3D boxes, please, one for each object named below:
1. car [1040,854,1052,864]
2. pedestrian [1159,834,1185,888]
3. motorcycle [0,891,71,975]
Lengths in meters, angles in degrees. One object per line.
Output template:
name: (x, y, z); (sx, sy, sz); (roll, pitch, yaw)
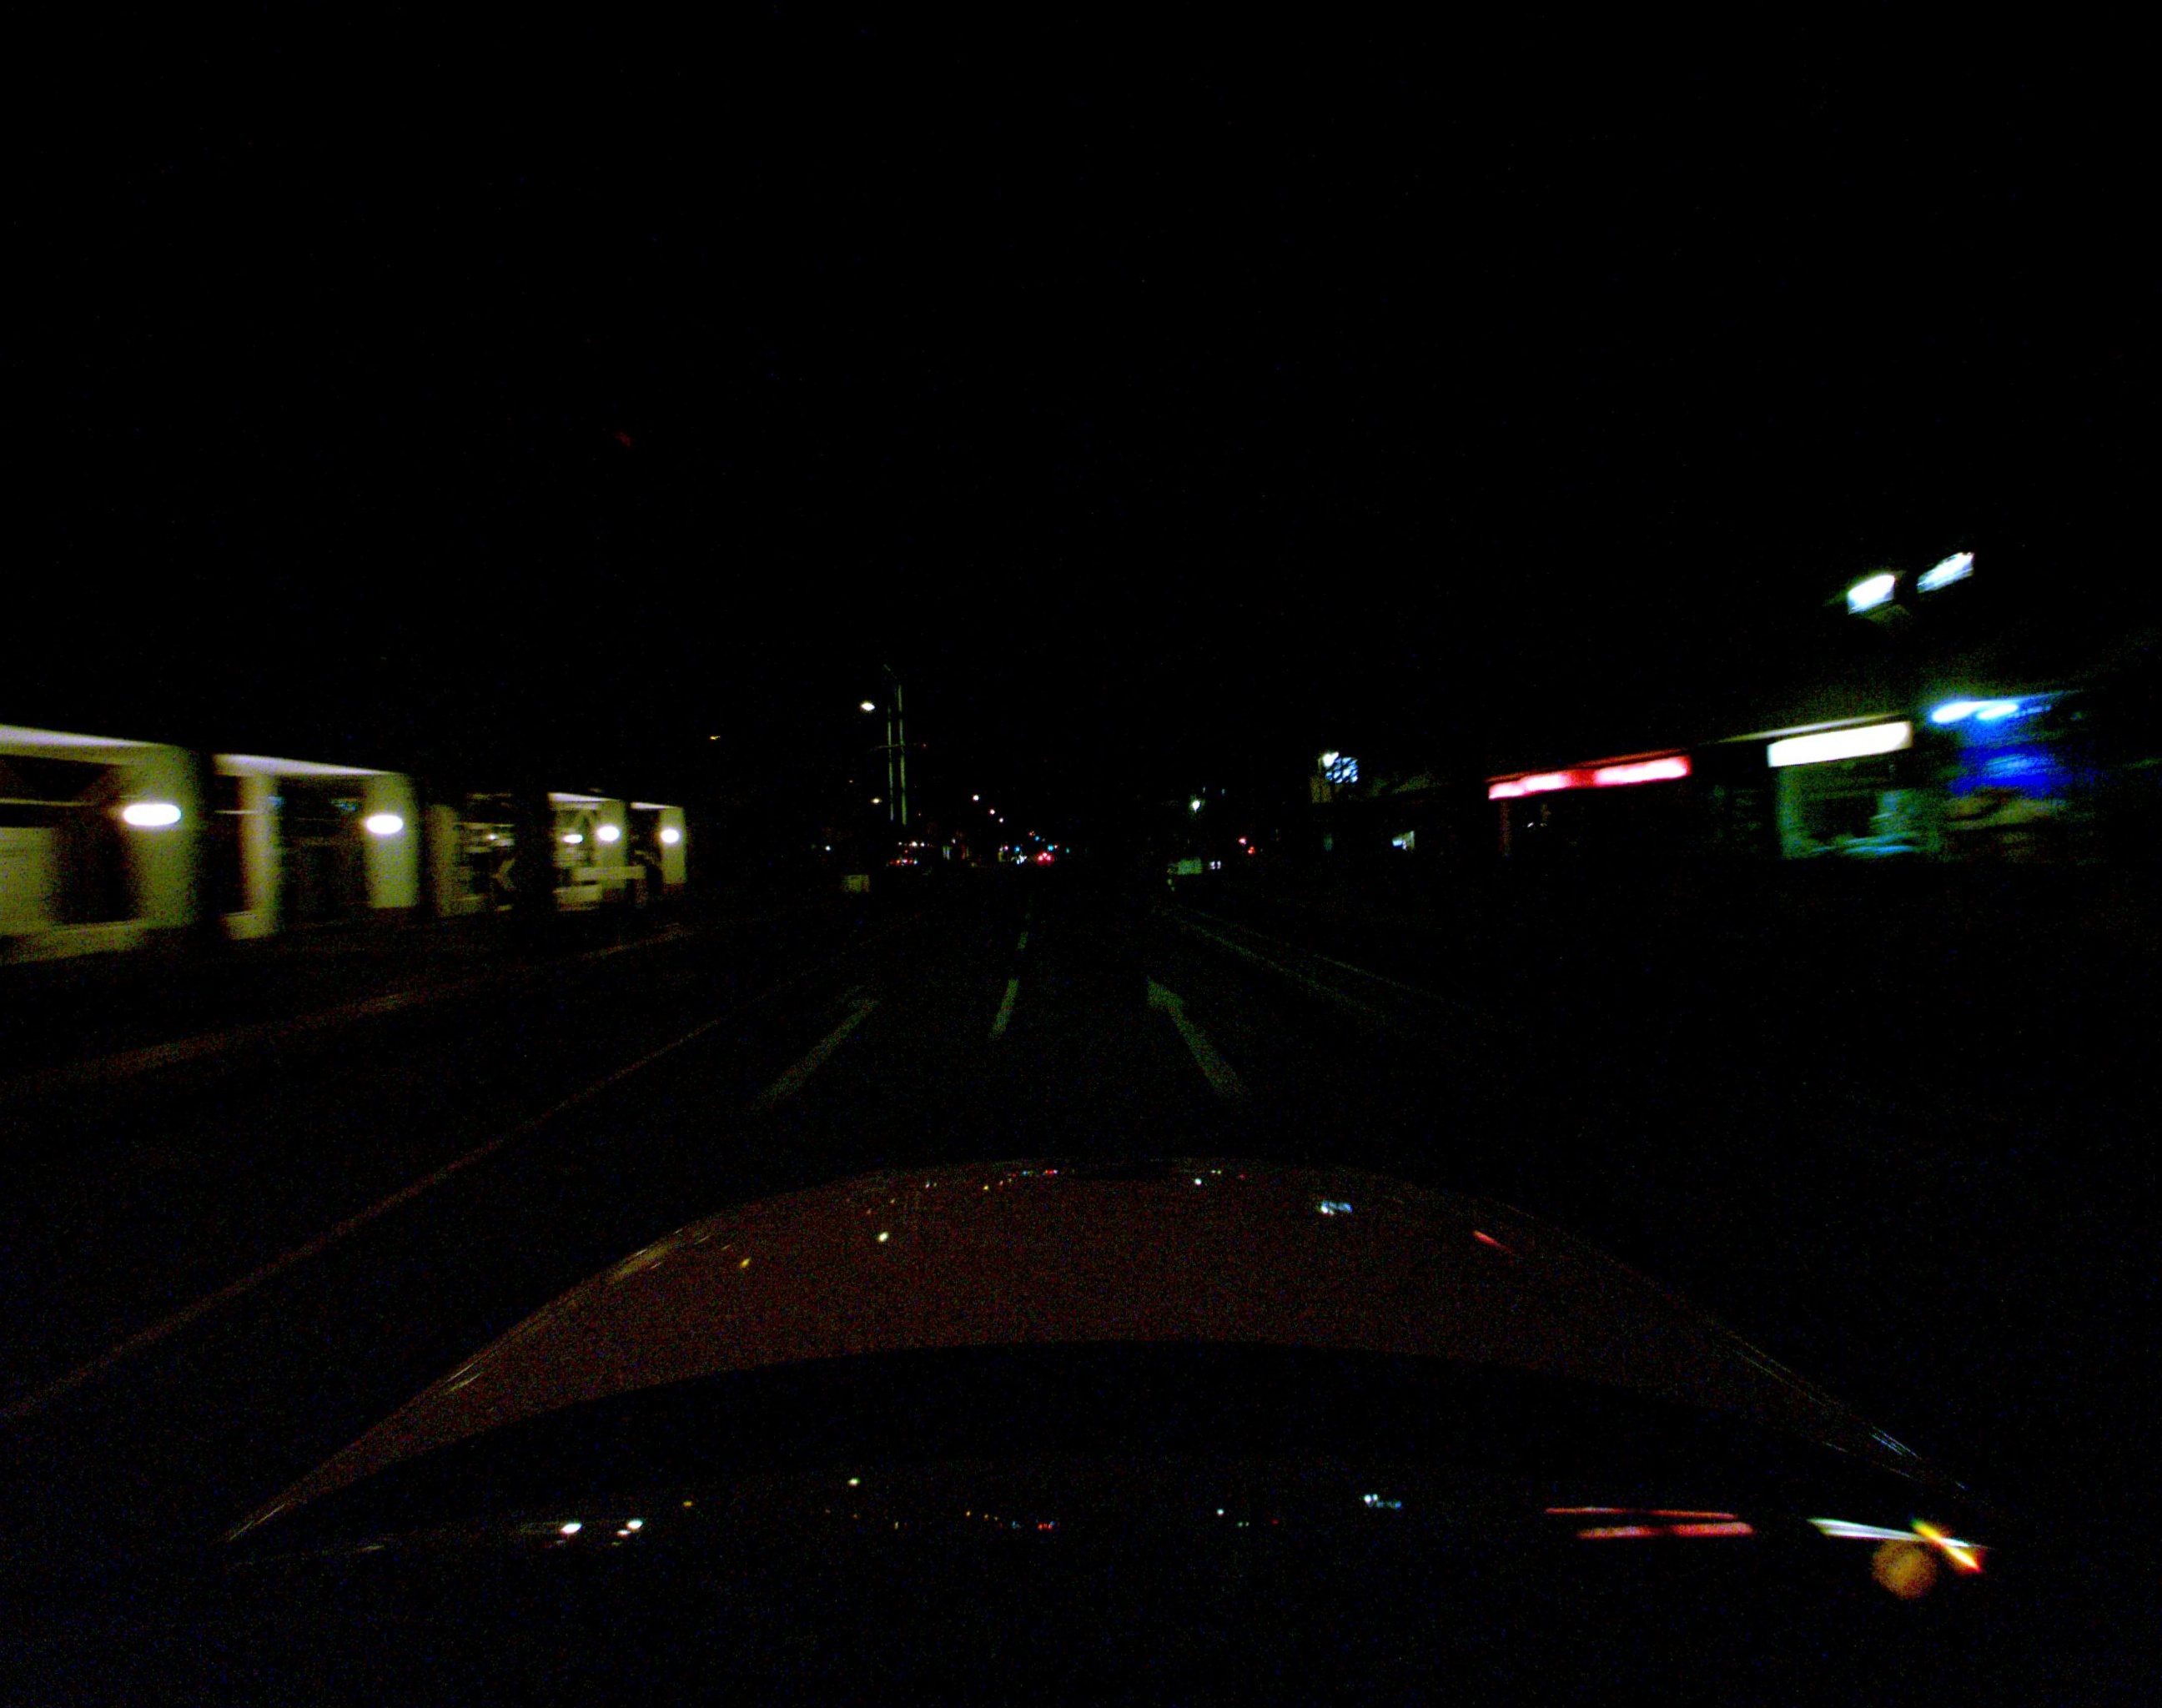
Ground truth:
car: (-6.168, 0.823, 143.605); (1.989, 1.643, 3.995); (-3, 0, -3)
pedestrian: (3.215, 0.242, 28.831); (0.701, 1.818, 1.081); (-3, 0, -3)
motorcycle: (-13.929, 1.025, 10.140); (0.475, 1.020, 1.679); (-2, 0, 8)
